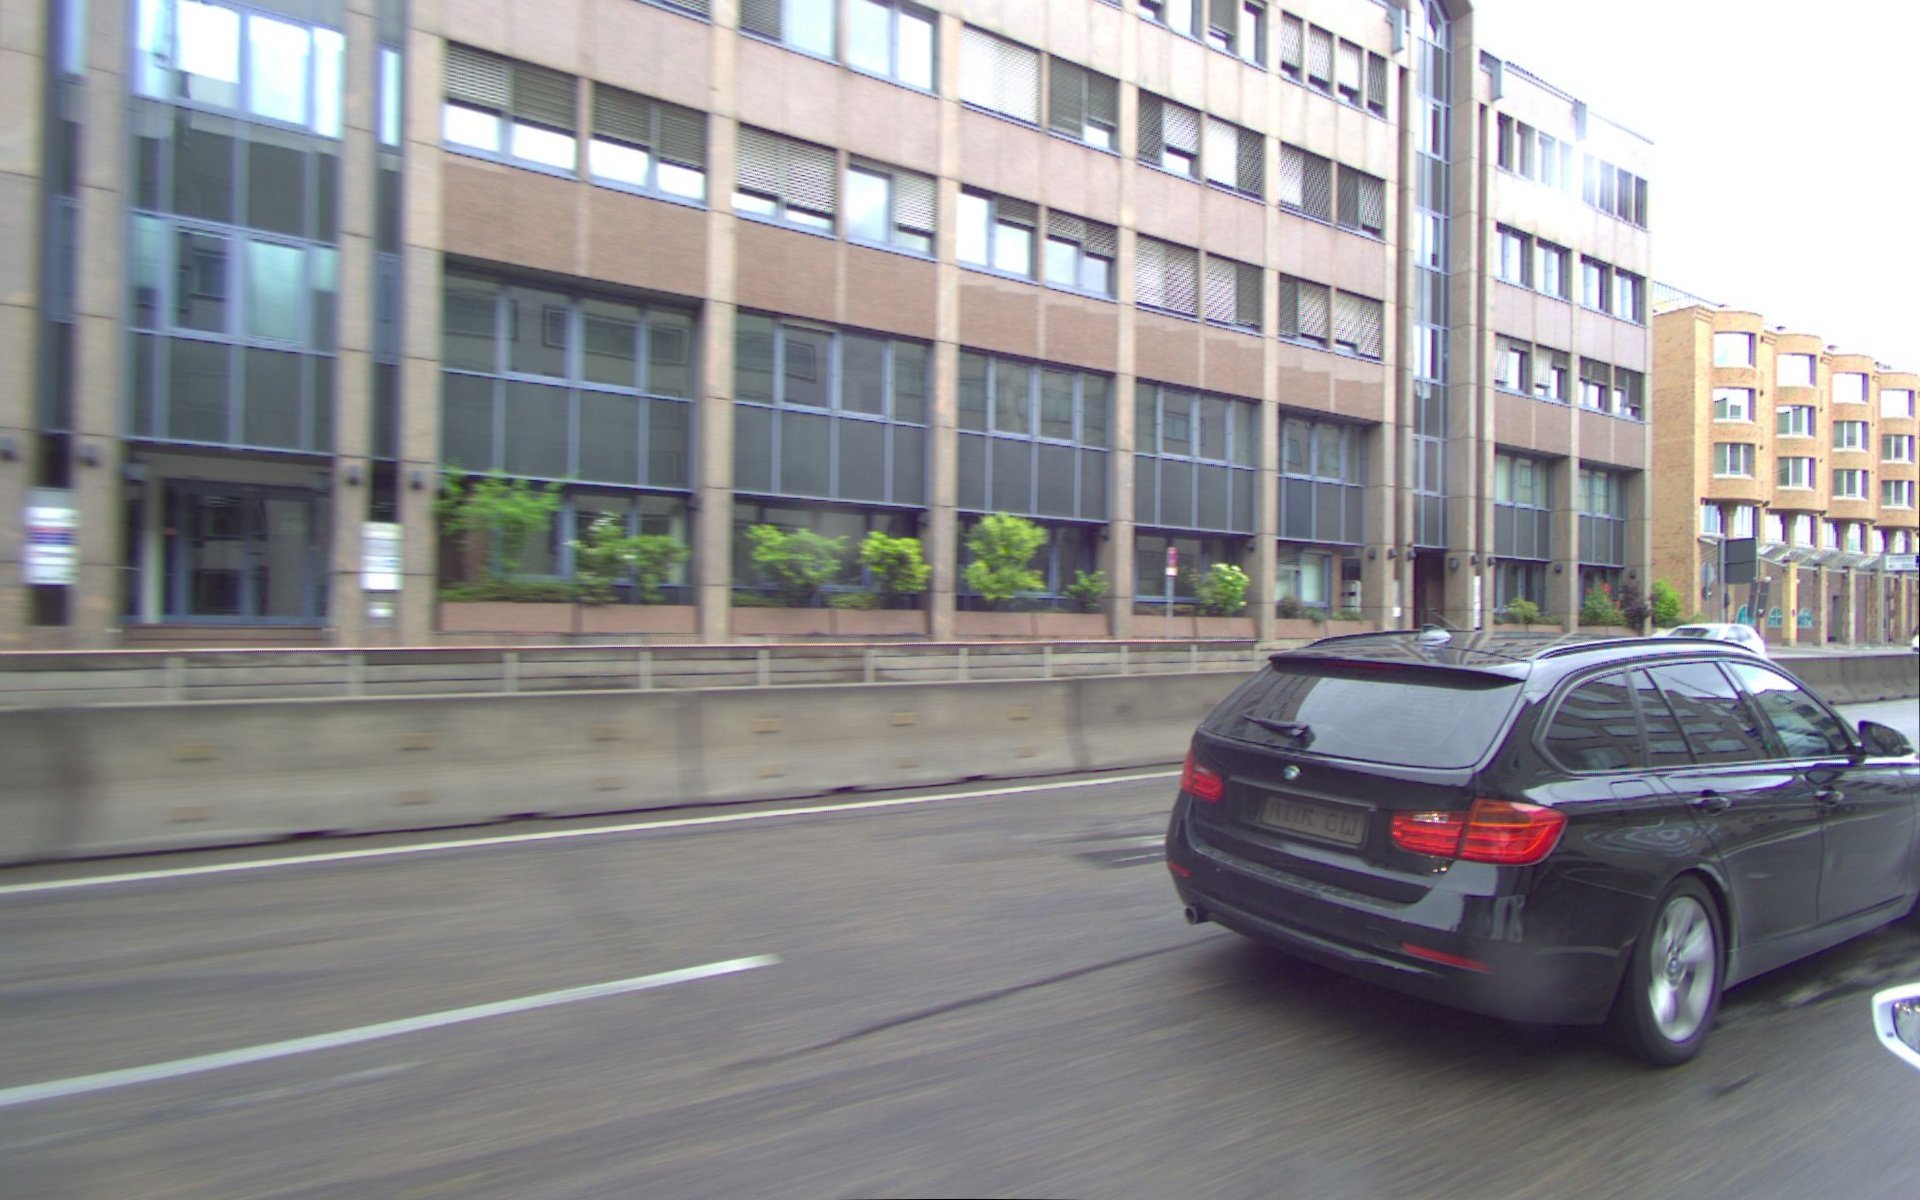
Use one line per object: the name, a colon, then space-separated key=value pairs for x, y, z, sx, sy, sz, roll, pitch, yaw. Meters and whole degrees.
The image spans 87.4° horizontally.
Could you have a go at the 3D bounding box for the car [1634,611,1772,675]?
car: x=19.301 y=1.080 z=26.058 sx=3.614 sy=1.462 sz=1.595 roll=-1 pitch=-1 yaw=-31

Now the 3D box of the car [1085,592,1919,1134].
car: x=2.922 y=0.734 z=4.641 sx=4.560 sy=1.445 sz=1.782 roll=1 pitch=-1 yaw=-31

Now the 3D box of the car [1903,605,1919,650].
car: x=37.607 y=0.993 z=37.907 sx=4.141 sy=1.640 sz=1.812 roll=-1 pitch=-1 yaw=-30
